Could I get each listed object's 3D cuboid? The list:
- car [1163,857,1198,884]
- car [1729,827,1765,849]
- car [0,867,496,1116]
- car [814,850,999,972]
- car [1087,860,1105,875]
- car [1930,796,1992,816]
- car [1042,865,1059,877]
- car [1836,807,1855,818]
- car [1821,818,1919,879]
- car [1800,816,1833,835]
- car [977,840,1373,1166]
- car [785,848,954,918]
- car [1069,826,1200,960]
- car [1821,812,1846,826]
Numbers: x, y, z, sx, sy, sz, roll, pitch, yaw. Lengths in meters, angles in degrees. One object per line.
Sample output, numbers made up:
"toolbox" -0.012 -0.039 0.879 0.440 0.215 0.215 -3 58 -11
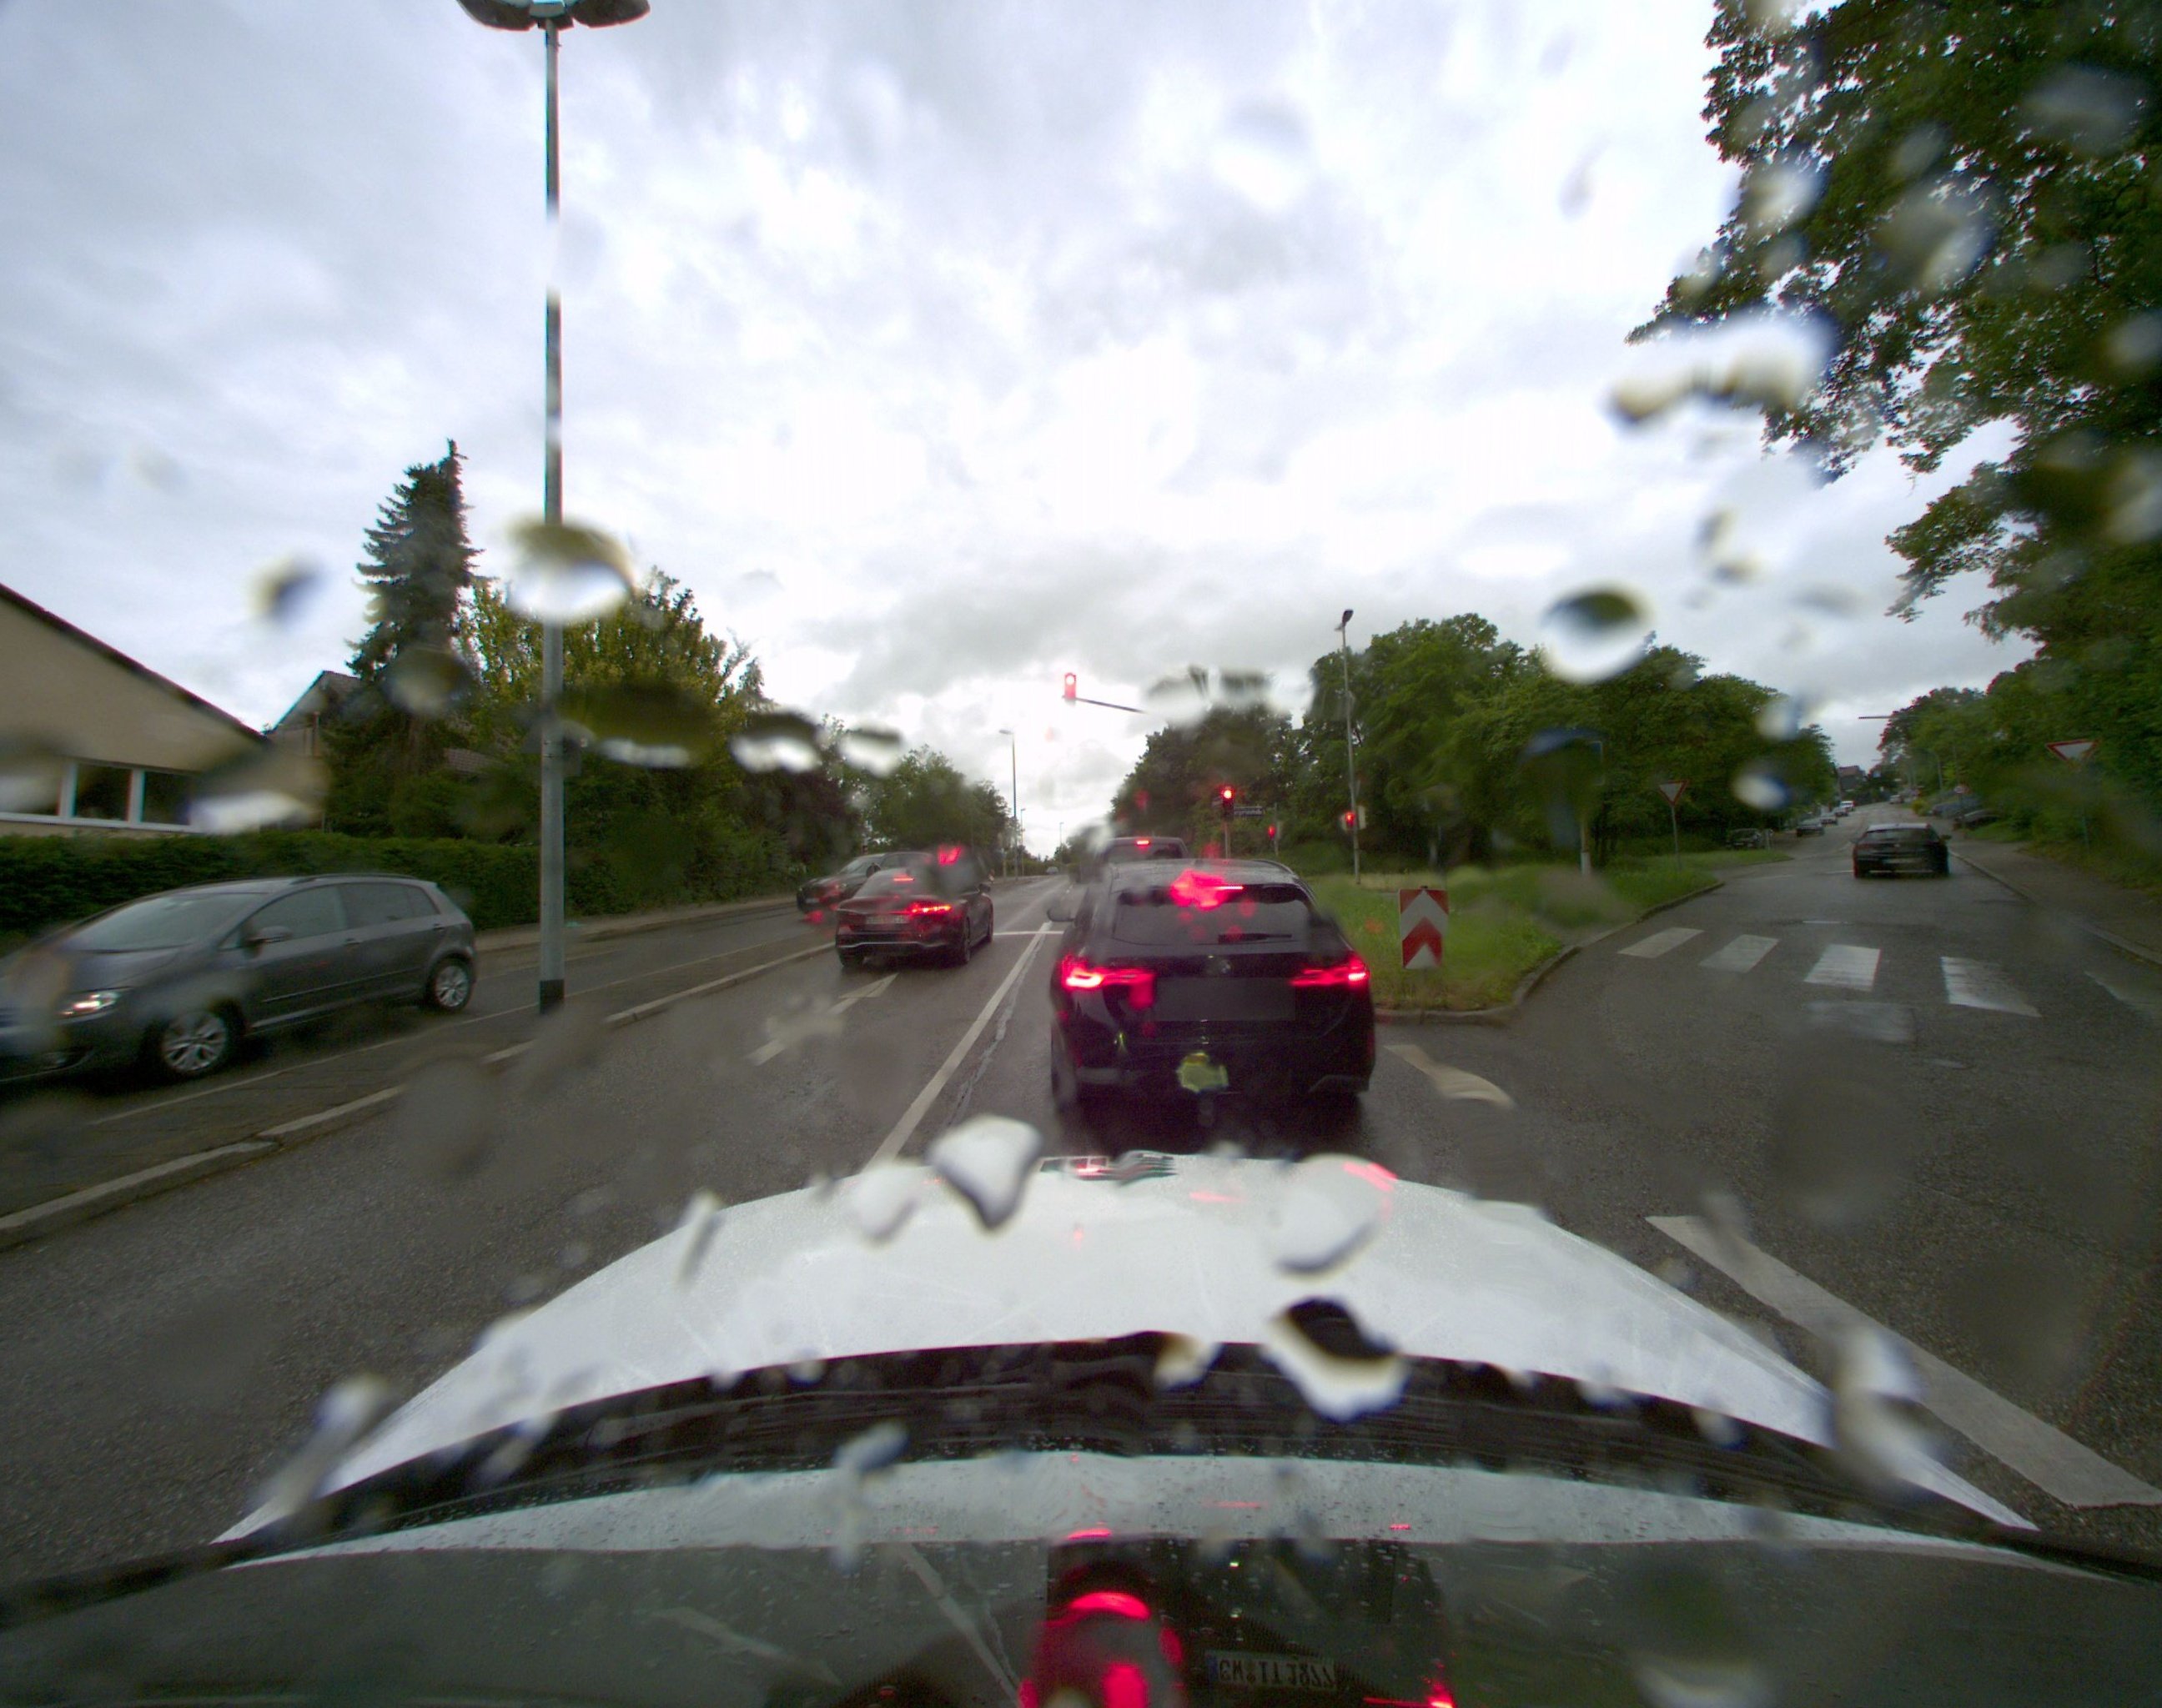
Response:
"car" 6.344 1.023 52.396 1.866 1.543 3.954 -4 -1 2
"car" 46.035 -1.144 56.254 1.655 1.370 3.512 -3 0 43
"car" -7.732 0.997 7.489 1.737 1.602 4.030 -3 0 -1
"car" -2.578 0.801 13.207 1.987 1.527 4.326 -4 -1 0
"car" 1.624 1.354 84.812 1.691 1.427 3.515 -4 -1 2
"car" 87.629 -4.717 81.141 3.949 1.574 1.785 -5 -1 42
"car" -5.133 2.818 136.785 1.982 1.826 4.009 -4 -1 8
"car" 114.518 -6.242 122.019 1.880 1.397 4.193 -2 -1 40
"car" 22.136 -0.192 22.814 4.187 1.442 1.795 -4 1 -44
"car" 66.290 -2.538 73.369 4.318 1.450 1.881 0 -1 -44
"car" 0.656 0.768 6.268 1.889 1.551 4.621 -1 -1 5
"car" -5.986 0.774 23.735 1.974 1.717 4.747 -3 0 28
"car" 0.839 0.571 13.440 1.811 1.868 3.954 -1 -1 2
"car" 88.223 -4.070 95.496 1.971 1.446 4.321 -2 -1 40
